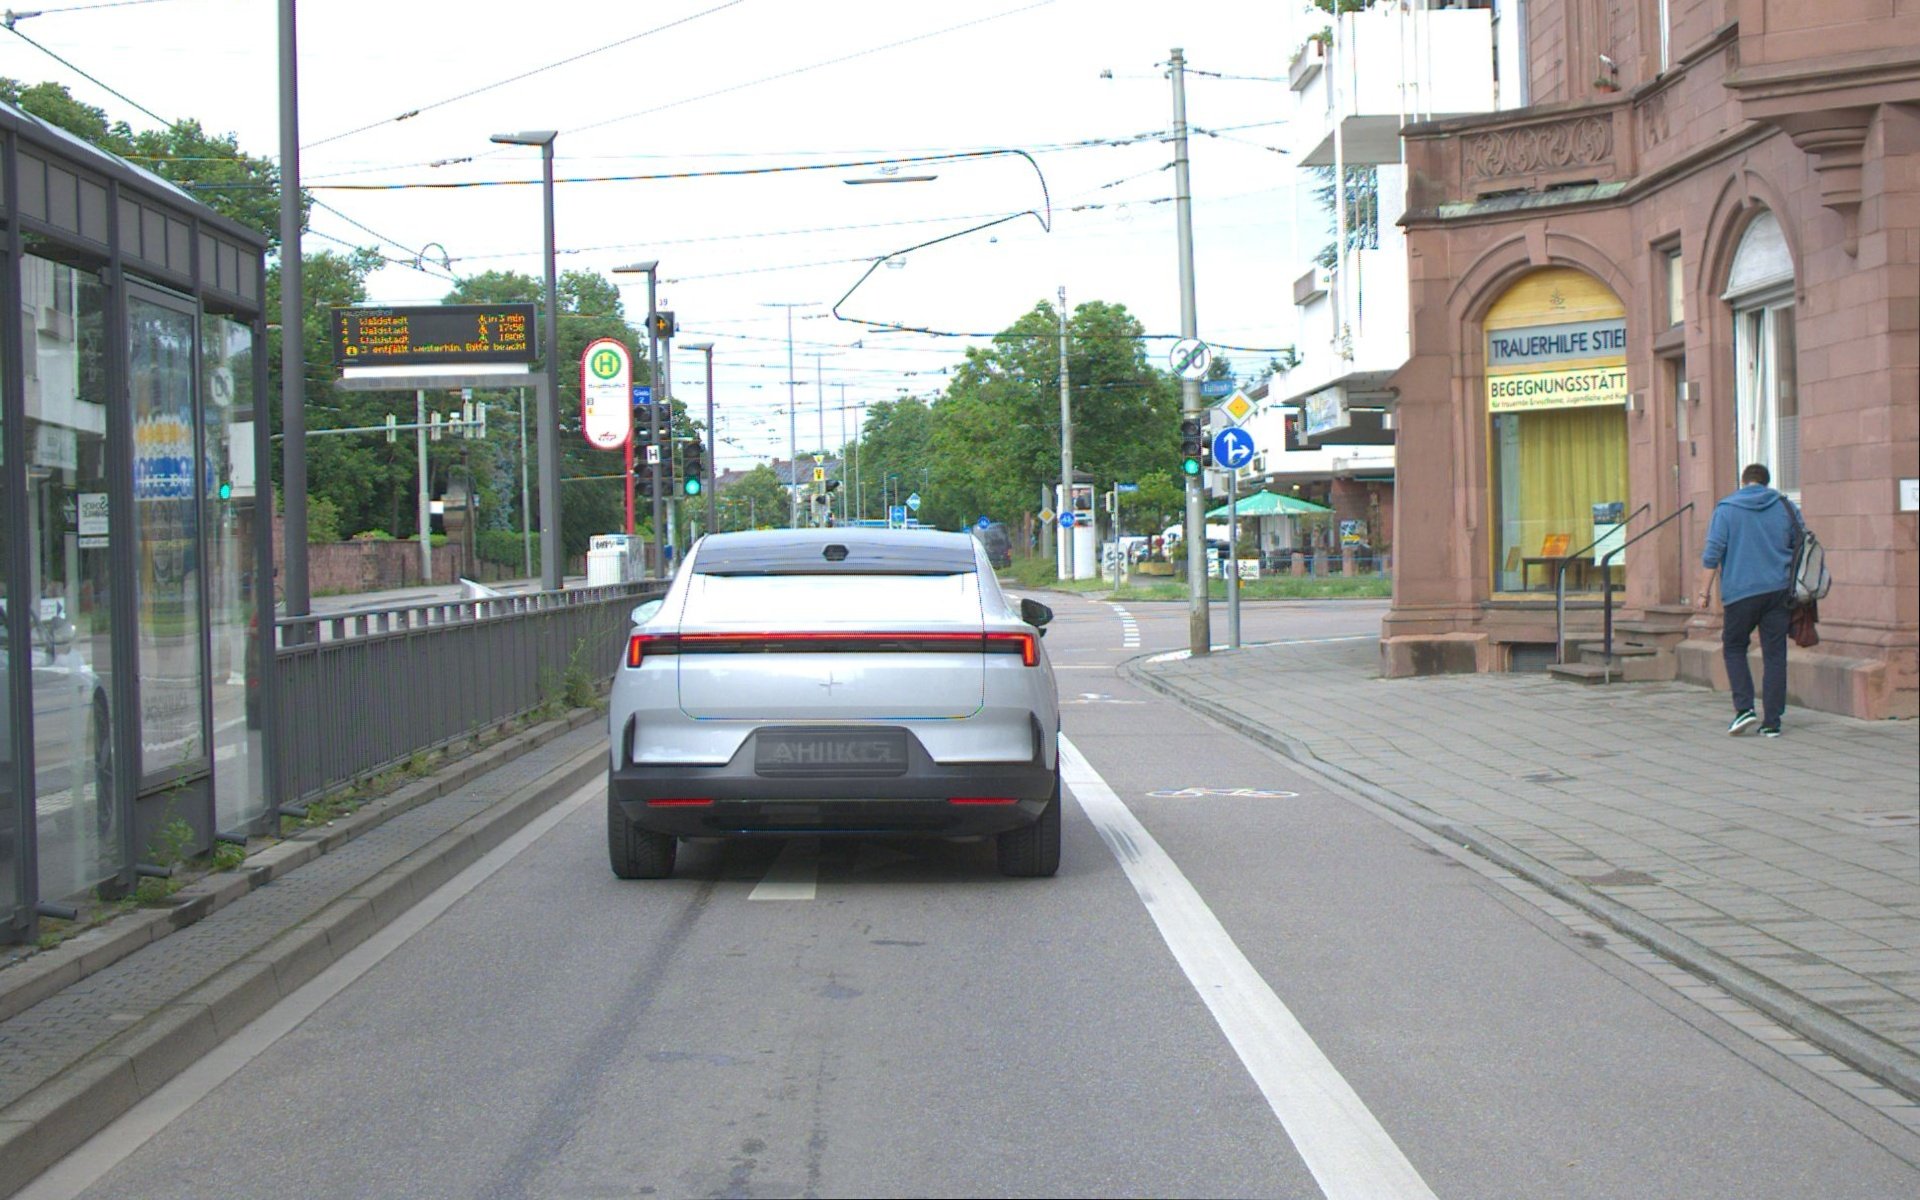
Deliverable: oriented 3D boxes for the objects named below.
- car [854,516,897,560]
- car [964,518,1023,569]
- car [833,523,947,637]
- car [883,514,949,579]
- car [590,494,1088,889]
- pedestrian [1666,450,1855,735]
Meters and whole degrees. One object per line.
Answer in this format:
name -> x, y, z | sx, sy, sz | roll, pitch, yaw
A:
car -> -3.989, -2.946, 163.204 | 1.993, 2.007, 4.000 | -1, 1, -1
car -> 1.651, -2.783, 170.960 | 2.807, 2.496, 5.722 | 0, 0, -1
car -> -1.040, -0.312, 52.655 | 1.681, 1.682, 3.824 | 0, 0, 0
car -> -1.684, -1.991, 129.951 | 2.225, 2.394, 5.124 | 0, 0, -4
car -> -0.656, 0.356, 15.788 | 1.999, 1.575, 4.001 | 0, 0, -5
pedestrian -> 5.407, -0.063, 23.282 | 0.961, 1.843, 0.975 | -3, 1, 0
